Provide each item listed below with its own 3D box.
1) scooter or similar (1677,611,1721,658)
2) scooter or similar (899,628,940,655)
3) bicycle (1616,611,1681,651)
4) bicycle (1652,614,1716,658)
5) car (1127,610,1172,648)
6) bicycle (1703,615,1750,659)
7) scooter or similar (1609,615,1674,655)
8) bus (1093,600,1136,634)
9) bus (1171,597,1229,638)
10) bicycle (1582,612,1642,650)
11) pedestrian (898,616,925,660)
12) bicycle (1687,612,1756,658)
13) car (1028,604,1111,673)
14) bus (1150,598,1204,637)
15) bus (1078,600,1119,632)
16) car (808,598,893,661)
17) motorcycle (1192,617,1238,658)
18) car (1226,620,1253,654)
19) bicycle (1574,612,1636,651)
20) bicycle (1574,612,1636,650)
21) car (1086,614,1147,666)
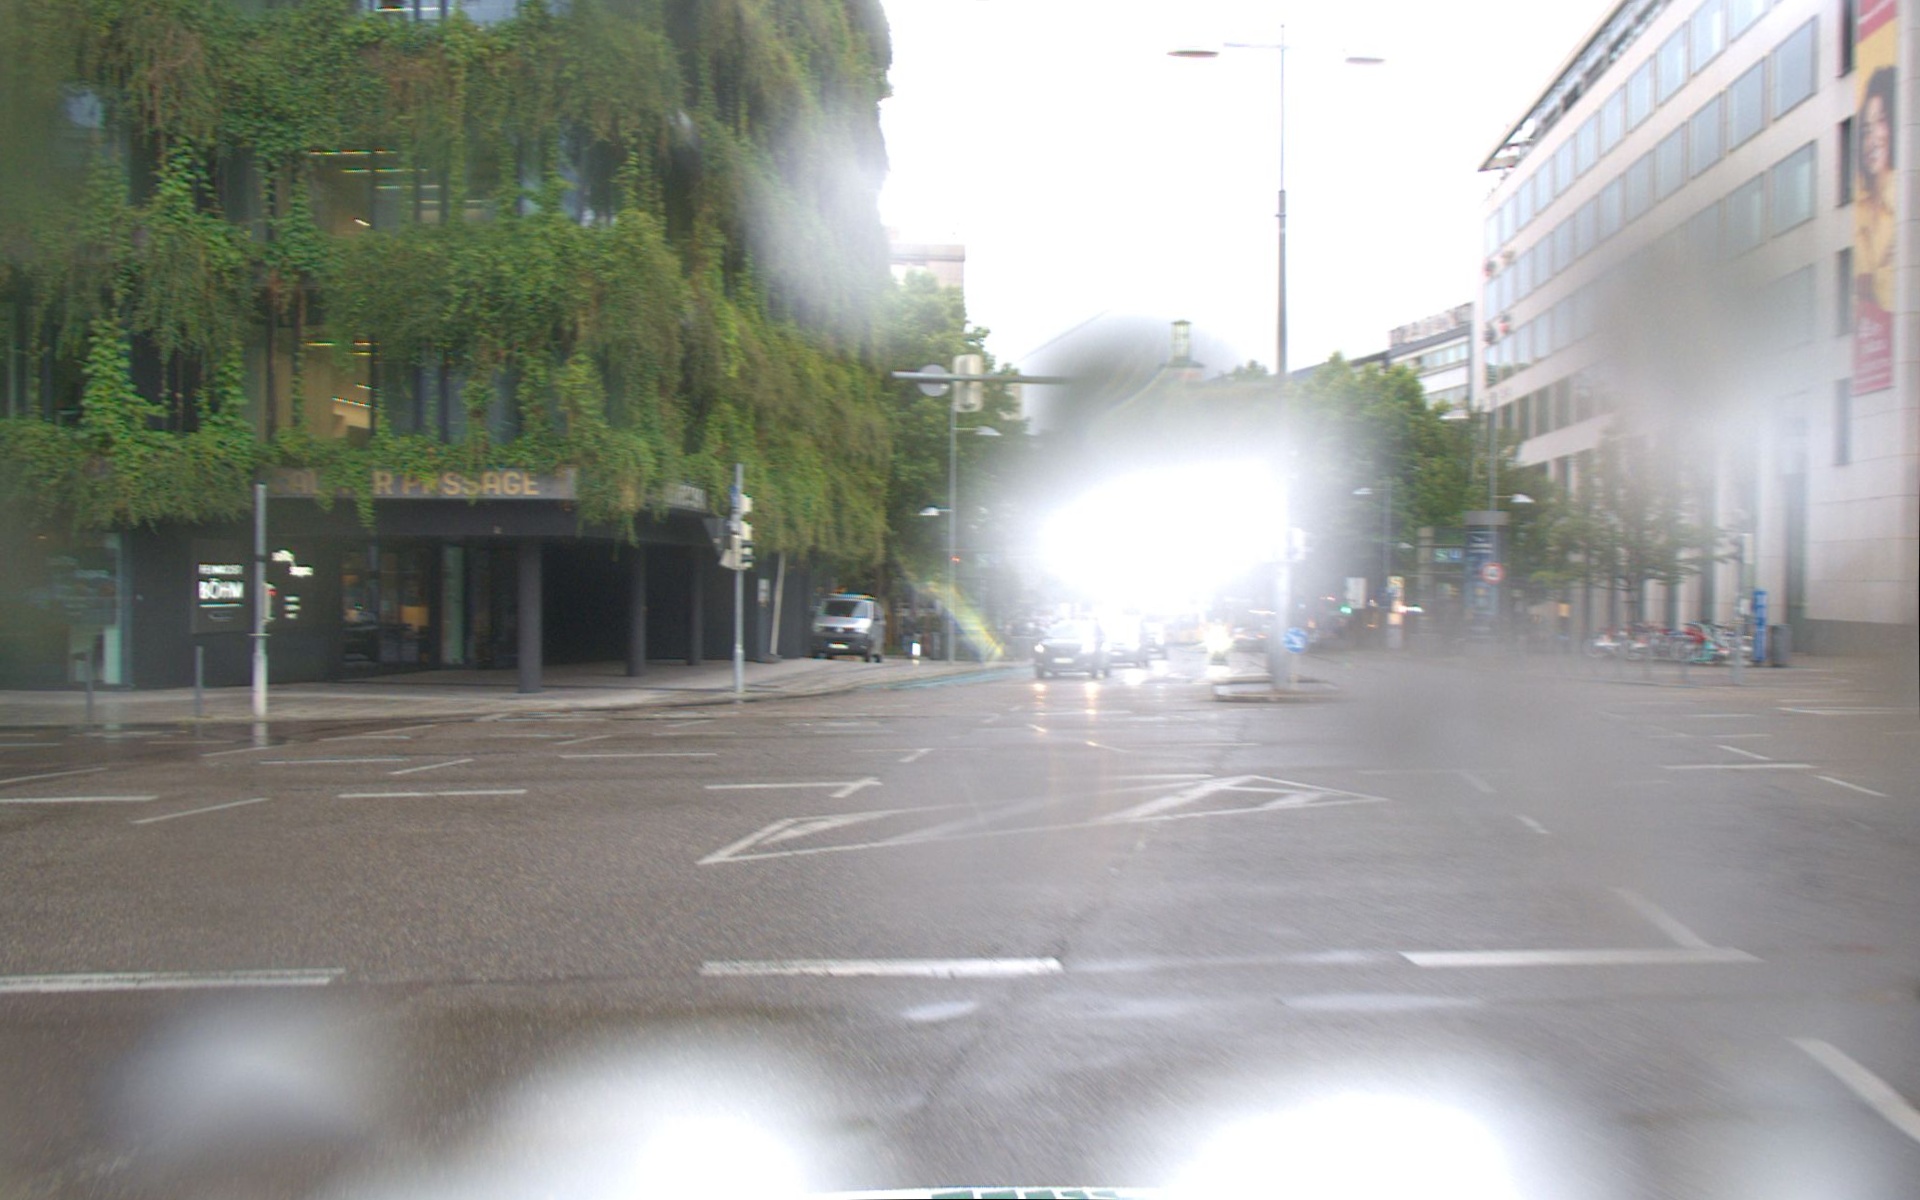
[{"bbox_3d":[19.468,0.904,43.567,0.451,1.215,0.949,1,-1,-41],"label":"scooter or similar"},{"bbox_3d":[-1.611,1.629,65.428,1.647,1.022,0.614,0,-1,-44],"label":"scooter or similar"},{"bbox_3d":[21.156,0.961,50.848,1.739,1.215,0.587,0,-1,11],"label":"bicycle"},{"bbox_3d":[20.021,0.988,45.746,0.576,1.215,1.773,0,-1,-19],"label":"bicycle"},{"bbox_3d":[9.253,1.424,81.035,2.118,1.796,5.115,0,-1,6],"label":"car"},{"bbox_3d":[21.369,1.021,46.102,1.769,1.215,0.577,1,-1,-44],"label":"bicycle"},{"bbox_3d":[20.716,1.068,50.283,1.739,1.215,0.587,0,-1,11],"label":"scooter or similar"},{"bbox_3d":[14.407,1.546,154.809,2.578,3.048,7.317,0,0,-7],"label":"bus"},{"bbox_3d":[18.325,1.310,126.569,2.578,3.048,7.438,0,0,-7],"label":"bus"},{"bbox_3d":[21.125,1.001,53.607,1.739,1.215,0.587,0,-1,11],"label":"bicycle"},{"bbox_3d":[-1.859,1.447,63.271,0.914,1.673,0.775,0,-1,8],"label":"pedestrian"},{"bbox_3d":[20.304,0.927,44.131,1.594,1.215,0.584,-1,-1,35],"label":"bicycle"},{"bbox_3d":[3.065,1.027,45.425,2.118,1.796,5.115,0,-1,6],"label":"car"},{"bbox_3d":[17.492,1.372,133.934,2.578,3.048,7.438,0,0,-7],"label":"bus"},{"bbox_3d":[13.566,1.562,162.126,2.578,3.048,7.438,0,0,-7],"label":"bus"},{"bbox_3d":[-3.347,0.895,51.314,1.830,1.871,4.003,0,-1,8],"label":"car"},{"bbox_3d":[9.872,1.430,64.165,1.518,1.541,4.387,0,-1,6],"label":"motorcycle"},{"bbox_3d":[16.799,2.210,99.686,1.511,2.049,4.672,0,-1,8],"label":"car"},{"bbox_3d":[20.325,0.979,52.159,1.739,1.215,0.587,0,-1,11],"label":"bicycle"},{"bbox_3d":[20.568,0.988,52.764,1.739,1.215,0.587,0,-1,11],"label":"bicycle"},{"bbox_3d":[5.659,1.430,59.687,2.118,1.796,5.115,0,-1,6],"label":"car"}]
